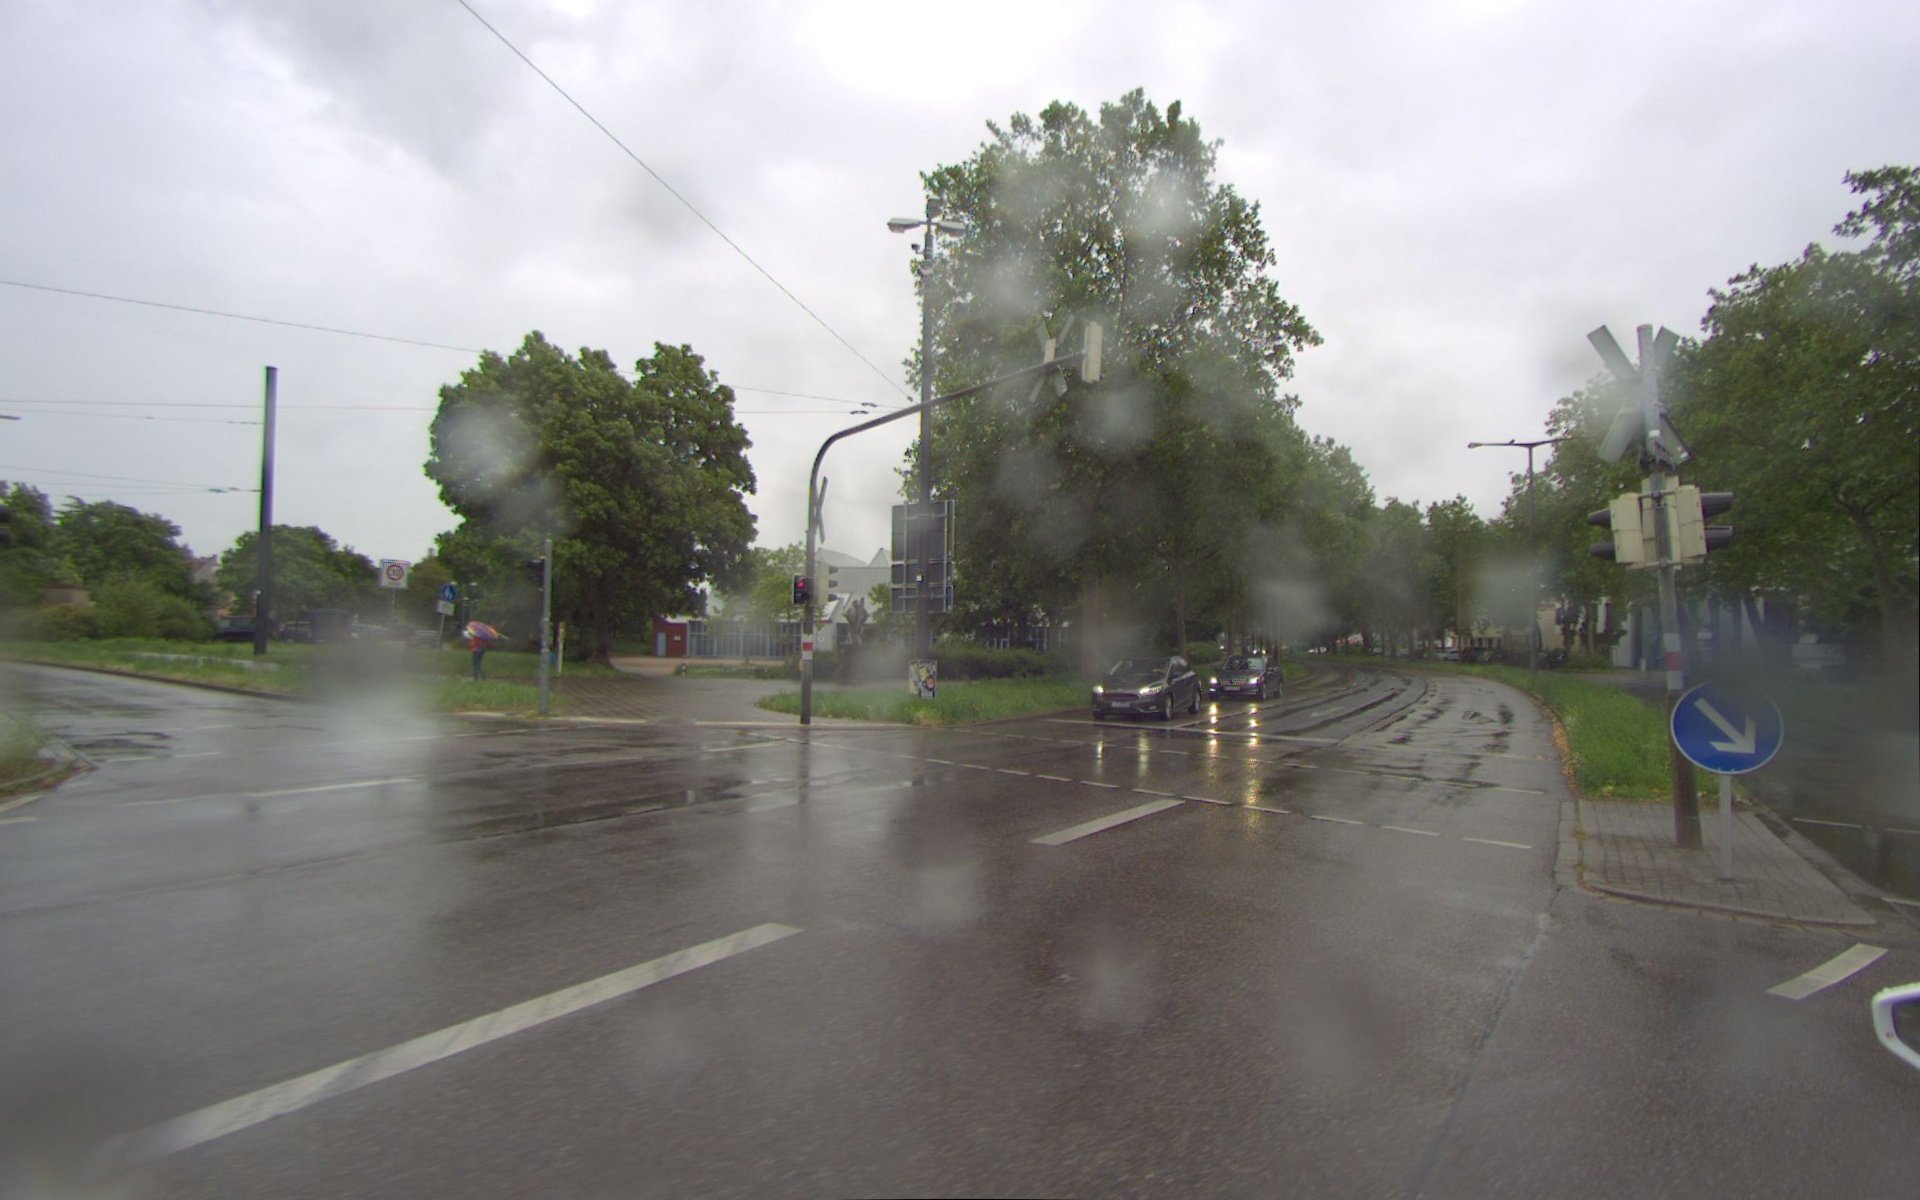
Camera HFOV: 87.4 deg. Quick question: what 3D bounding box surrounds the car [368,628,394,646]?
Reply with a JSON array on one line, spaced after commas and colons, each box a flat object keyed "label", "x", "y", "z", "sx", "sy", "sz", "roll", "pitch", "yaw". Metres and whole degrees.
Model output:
[{"label": "car", "x": -54.882, "y": 3.475, "z": 95.293, "sx": 1.793, "sy": 1.639, "sz": 3.893, "roll": 1, "pitch": -1, "yaw": -26}]

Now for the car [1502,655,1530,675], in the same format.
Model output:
[{"label": "car", "x": 56.894, "y": 6.648, "z": 102.786, "sx": 1.961, "sy": 1.806, "sz": 3.999, "roll": 0, "pitch": -1, "yaw": 21}]

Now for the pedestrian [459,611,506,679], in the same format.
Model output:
[{"label": "pedestrian", "x": -14.591, "y": 1.356, "z": 30.712, "sx": 0.992, "sy": 2.017, "sz": 0.950, "roll": 0, "pitch": -1, "yaw": 37}]

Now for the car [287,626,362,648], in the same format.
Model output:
[{"label": "car", "x": -44.347, "y": 2.598, "z": 70.212, "sx": 4.122, "sy": 1.502, "sz": 1.774, "roll": 1, "pitch": -1, "yaw": -23}]

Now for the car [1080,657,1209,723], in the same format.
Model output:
[{"label": "car", "x": 4.458, "y": 2.068, "z": 23.819, "sx": 1.772, "sy": 1.420, "sz": 4.308, "roll": -2, "pitch": -4, "yaw": 28}]

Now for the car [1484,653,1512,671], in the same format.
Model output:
[{"label": "car", "x": 58.735, "y": 6.734, "z": 109.728, "sx": 1.960, "sy": 1.806, "sz": 4.002, "roll": 0, "pitch": -1, "yaw": 17}]

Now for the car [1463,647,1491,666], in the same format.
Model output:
[{"label": "car", "x": 62.249, "y": 6.828, "z": 120.996, "sx": 2.085, "sy": 2.116, "sz": 4.002, "roll": 0, "pitch": -1, "yaw": 14}]

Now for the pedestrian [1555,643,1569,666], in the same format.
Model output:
[{"label": "pedestrian", "x": 53.028, "y": 4.827, "z": 88.450, "sx": 0.845, "sy": 1.976, "sz": 0.704, "roll": 1, "pitch": -1, "yaw": -25}]

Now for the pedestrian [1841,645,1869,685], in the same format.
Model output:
[{"label": "pedestrian", "x": 39.607, "y": 2.863, "z": 44.464, "sx": 0.660, "sy": 1.690, "sz": 0.825, "roll": 0, "pitch": -1, "yaw": 21}]

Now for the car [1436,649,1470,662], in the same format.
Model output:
[{"label": "car", "x": 67.958, "y": 7.590, "z": 138.586, "sx": 3.801, "sy": 1.673, "sz": 1.889, "roll": 0, "pitch": -1, "yaw": 10}]

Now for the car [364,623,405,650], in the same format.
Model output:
[{"label": "car", "x": -35.385, "y": 2.223, "z": 61.854, "sx": 1.732, "sy": 1.551, "sz": 4.819, "roll": 1, "pitch": -1, "yaw": -25}]

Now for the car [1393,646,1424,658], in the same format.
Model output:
[{"label": "car", "x": 70.100, "y": 8.141, "z": 157.127, "sx": 3.920, "sy": 1.855, "sz": 2.001, "roll": 0, "pitch": -1, "yaw": 2}]

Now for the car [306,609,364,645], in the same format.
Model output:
[{"label": "car", "x": -37.313, "y": 1.591, "z": 60.078, "sx": 2.281, "sy": 2.040, "sz": 5.086, "roll": 1, "pitch": -1, "yaw": -25}]

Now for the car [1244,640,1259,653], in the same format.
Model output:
[{"label": "car", "x": 48.060, "y": 7.665, "z": 165.897, "sx": 1.947, "sy": 2.040, "sz": 4.003, "roll": 0, "pitch": -1, "yaw": 10}]

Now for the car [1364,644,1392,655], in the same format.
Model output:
[{"label": "car", "x": 71.464, "y": 8.445, "z": 171.815, "sx": 3.919, "sy": 1.844, "sz": 2.001, "roll": 0, "pitch": -1, "yaw": 5}]

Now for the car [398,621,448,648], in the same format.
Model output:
[{"label": "car", "x": -33.400, "y": 2.136, "z": 62.632, "sx": 2.031, "sy": 1.593, "sz": 4.993, "roll": 1, "pitch": -1, "yaw": -20}]

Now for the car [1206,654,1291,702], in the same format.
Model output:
[{"label": "car", "x": 9.597, "y": 2.562, "z": 33.202, "sx": 1.772, "sy": 1.425, "sz": 4.454, "roll": 0, "pitch": -4, "yaw": 29}]

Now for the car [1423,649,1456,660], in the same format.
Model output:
[{"label": "car", "x": 67.969, "y": 7.747, "z": 142.547, "sx": 3.802, "sy": 1.513, "sz": 1.889, "roll": 0, "pitch": -1, "yaw": 4}]
